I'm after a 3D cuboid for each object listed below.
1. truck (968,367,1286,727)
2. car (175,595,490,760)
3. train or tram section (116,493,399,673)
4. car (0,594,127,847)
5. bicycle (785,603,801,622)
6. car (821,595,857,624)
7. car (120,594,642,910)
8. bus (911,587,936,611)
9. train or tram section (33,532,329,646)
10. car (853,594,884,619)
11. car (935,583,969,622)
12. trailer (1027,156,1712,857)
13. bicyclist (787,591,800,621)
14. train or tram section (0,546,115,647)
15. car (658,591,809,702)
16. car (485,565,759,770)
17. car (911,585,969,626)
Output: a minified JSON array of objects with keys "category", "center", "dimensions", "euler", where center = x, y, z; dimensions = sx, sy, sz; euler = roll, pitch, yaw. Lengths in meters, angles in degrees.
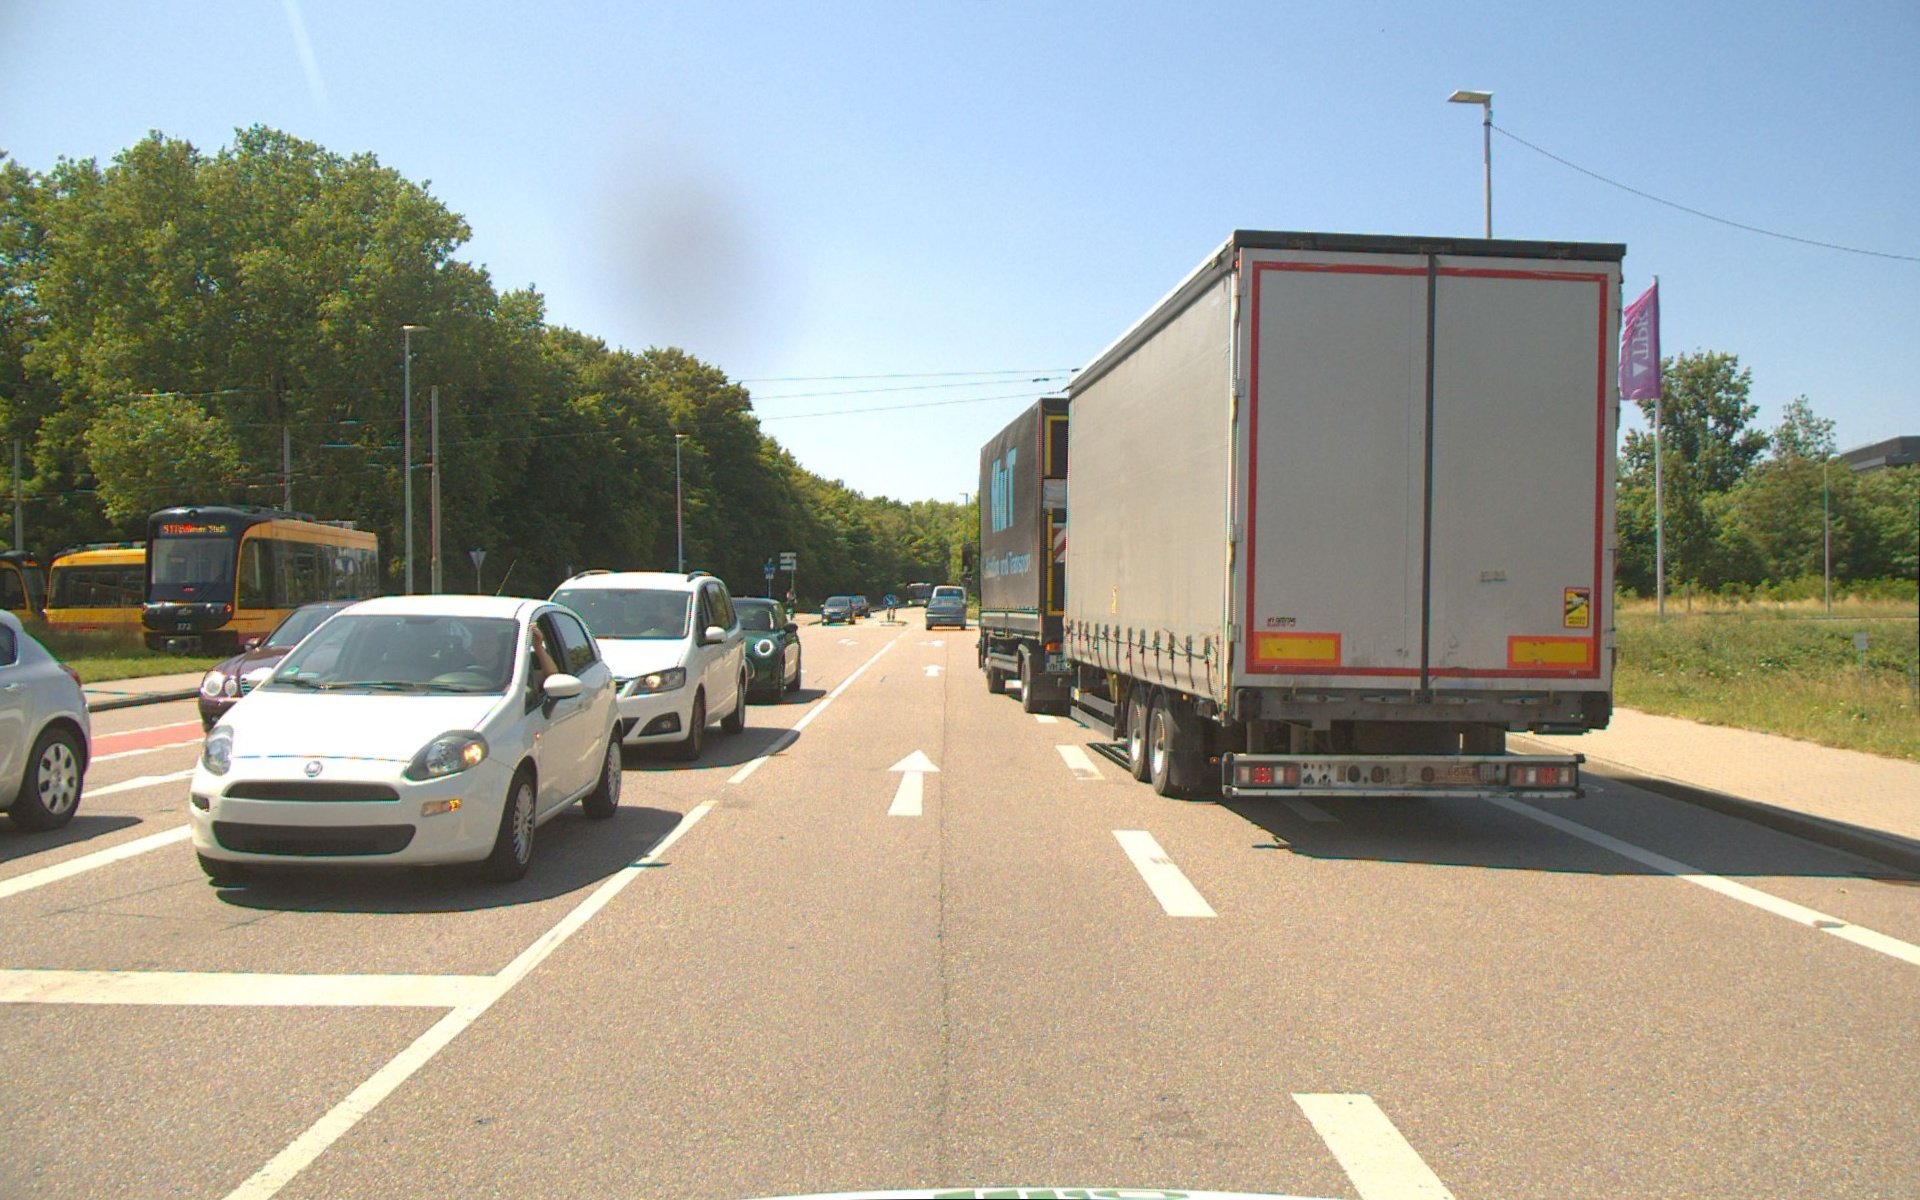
[{"category":"truck","center":[1.969,-0.627,23.130],"dimensions":[3.017,4.141,7.951],"euler":[0,0,-5]},{"category":"car","center":[-6.377,0.705,17.343],"dimensions":[1.724,1.482,4.285],"euler":[-1,0,-1]},{"category":"train or tram section","center":[-17.490,-0.434,42.524],"dimensions":[2.958,3.824,12.976],"euler":[-2,1,-6]},{"category":"car","center":[-6.528,0.727,8.949],"dimensions":[1.754,1.481,4.413],"euler":[-1,0,0]},{"category":"bicycle","center":[-9.722,0.720,96.274],"dimensions":[0.655,1.073,2.045],"euler":[1,1,1]},{"category":"car","center":[-6.429,0.485,88.062],"dimensions":[1.589,1.481,3.501],"euler":[-2,0,0]},{"category":"car","center":[-3.095,0.710,9.741],"dimensions":[1.732,1.463,3.960],"euler":[1,0,-1]},{"category":"bus","center":[-5.035,-0.190,231.516],"dimensions":[2.694,3.097,11.940],"euler":[-6,0,1]},{"category":"train or tram section","center":[-29.265,-0.318,61.665],"dimensions":[13.749,3.824,3.019],"euler":[-1,1,32]},{"category":"car","center":[-5.977,0.405,108.655],"dimensions":[1.708,1.430,4.441],"euler":[-3,1,1]},{"category":"car","center":[-0.403,0.137,85.596],"dimensions":[1.621,1.940,4.001],"euler":[-1,0,1]},{"category":"trailer","center":[2.684,-0.567,14.822],"dimensions":[3.017,4.141,9.800],"euler":[1,0,-4]},{"category":"bicyclist","center":[-9.715,0.343,96.276],"dimensions":[0.651,1.735,0.769],"euler":[1,0,1]},{"category":"train or tram section","center":[-41.142,0.036,64.967],"dimensions":[13.871,3.824,3.023],"euler":[-2,1,-5]},{"category":"car","center":[-3.247,0.616,24.369],"dimensions":[1.688,1.488,3.990],"euler":[0,0,0]},{"category":"car","center":[-3.186,0.554,16.571],"dimensions":[1.774,1.753,4.831],"euler":[0,0,0]},{"category":"car","center":[-0.802,0.224,69.986],"dimensions":[1.982,1.661,4.003],"euler":[-1,0,6]}]
